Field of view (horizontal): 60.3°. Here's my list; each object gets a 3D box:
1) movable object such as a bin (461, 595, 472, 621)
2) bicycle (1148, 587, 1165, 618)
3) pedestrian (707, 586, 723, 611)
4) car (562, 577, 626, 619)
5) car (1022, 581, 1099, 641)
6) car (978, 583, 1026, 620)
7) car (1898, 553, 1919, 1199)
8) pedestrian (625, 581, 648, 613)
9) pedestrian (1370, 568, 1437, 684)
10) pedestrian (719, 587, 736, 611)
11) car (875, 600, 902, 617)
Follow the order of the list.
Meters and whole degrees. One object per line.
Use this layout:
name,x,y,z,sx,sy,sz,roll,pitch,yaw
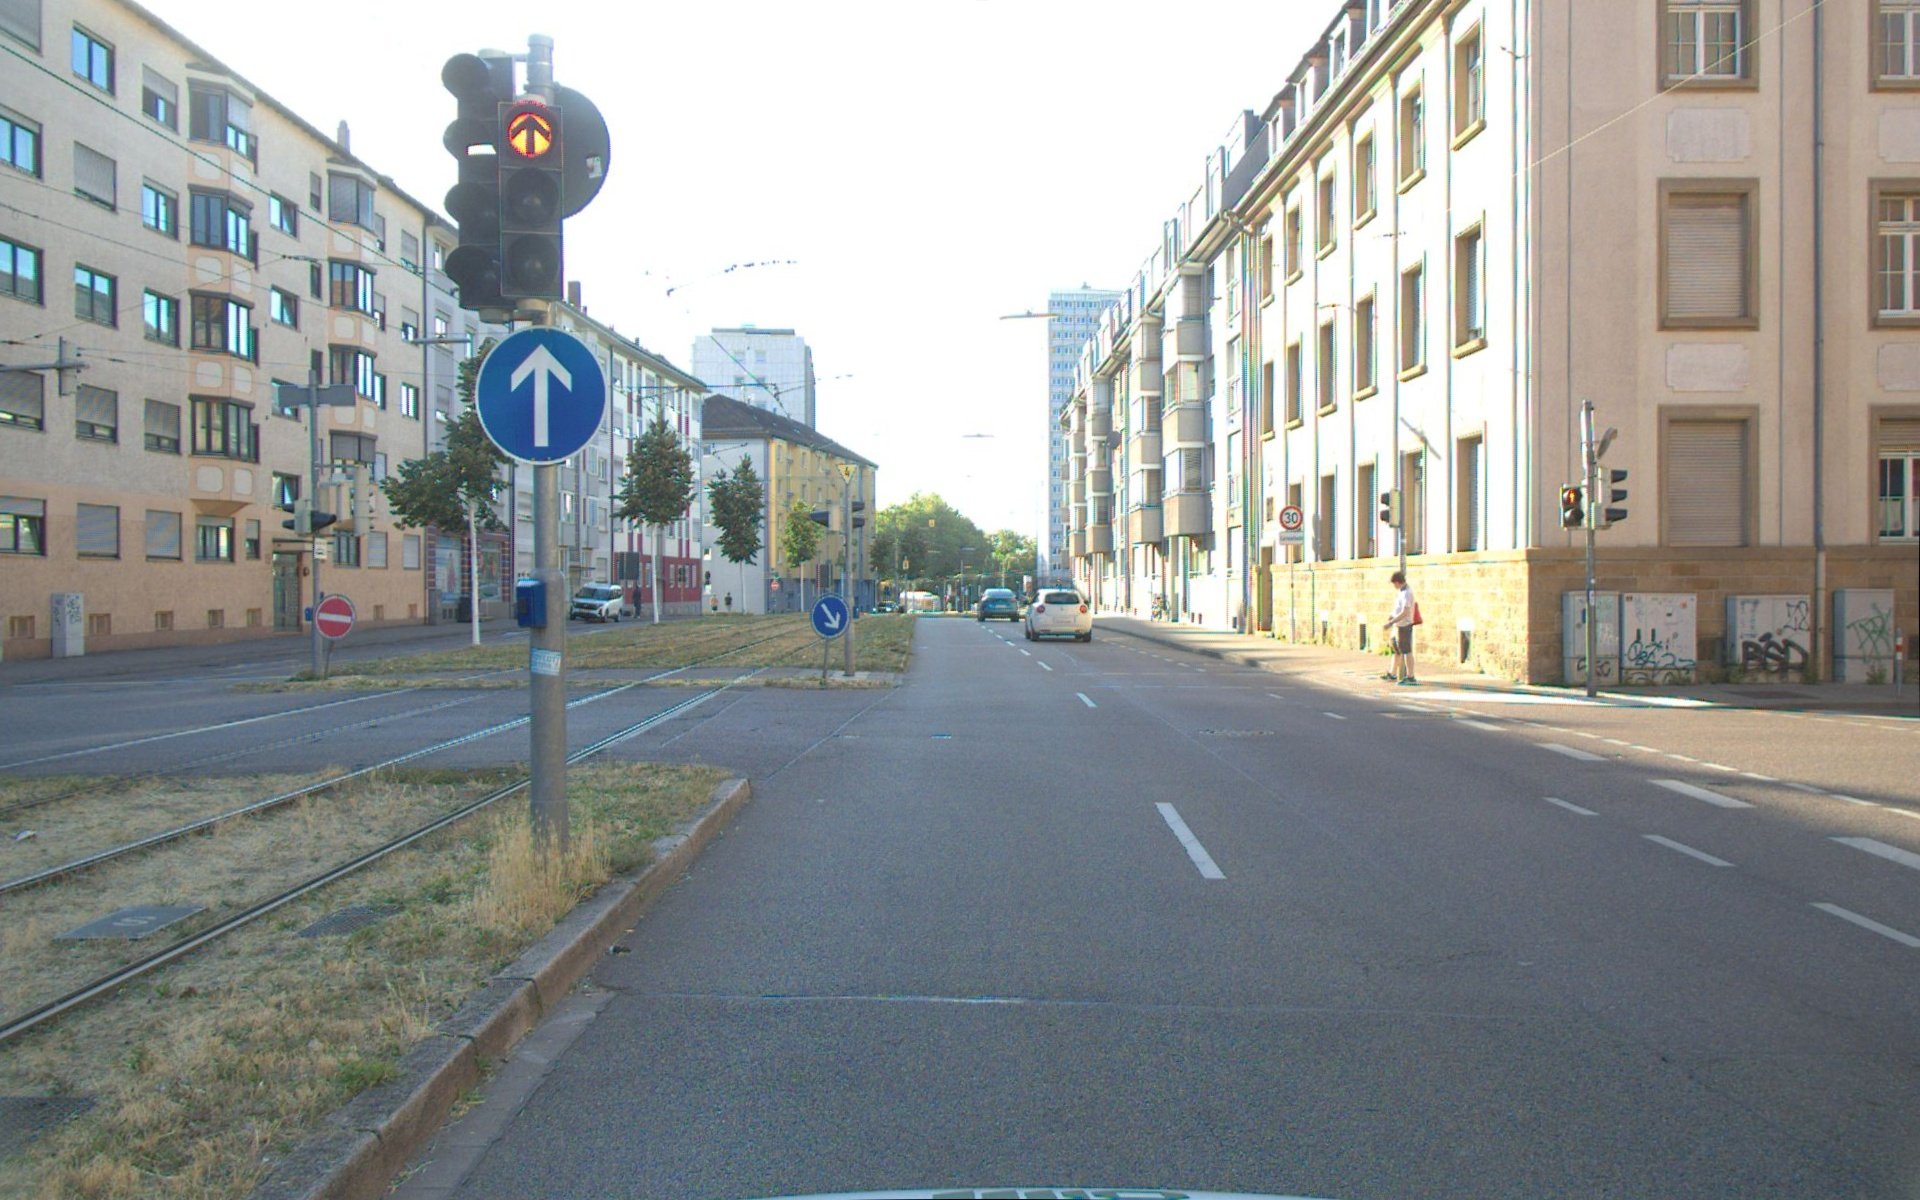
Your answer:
movable object such as a bin,-20.264,0.338,67.959,0.292,1.054,0.441,1,-1,0
bicycle,7.368,0.093,61.994,0.376,1.115,1.503,-1,0,-3
pedestrian,-17.594,-0.096,118.878,0.942,1.723,1.011,1,0,4
car,-17.946,-0.086,81.305,1.952,1.958,4.543,1,0,3
car,2.826,0.305,47.102,1.952,1.591,4.000,1,0,0
car,1.870,0.089,74.934,1.953,1.581,4.392,1,0,-2
car,2.871,0.728,1.421,1.663,1.580,4.225,2,0,-1
pedestrian,-18.413,-0.165,94.192,1.246,1.791,1.271,1,0,-9
pedestrian,7.018,0.410,26.211,0.818,1.793,0.824,1,-1,-1
pedestrian,-16.802,-0.079,119.495,0.942,1.699,1.011,1,0,4
car,-7.072,0.817,163.200,1.857,1.662,4.751,-1,0,7
